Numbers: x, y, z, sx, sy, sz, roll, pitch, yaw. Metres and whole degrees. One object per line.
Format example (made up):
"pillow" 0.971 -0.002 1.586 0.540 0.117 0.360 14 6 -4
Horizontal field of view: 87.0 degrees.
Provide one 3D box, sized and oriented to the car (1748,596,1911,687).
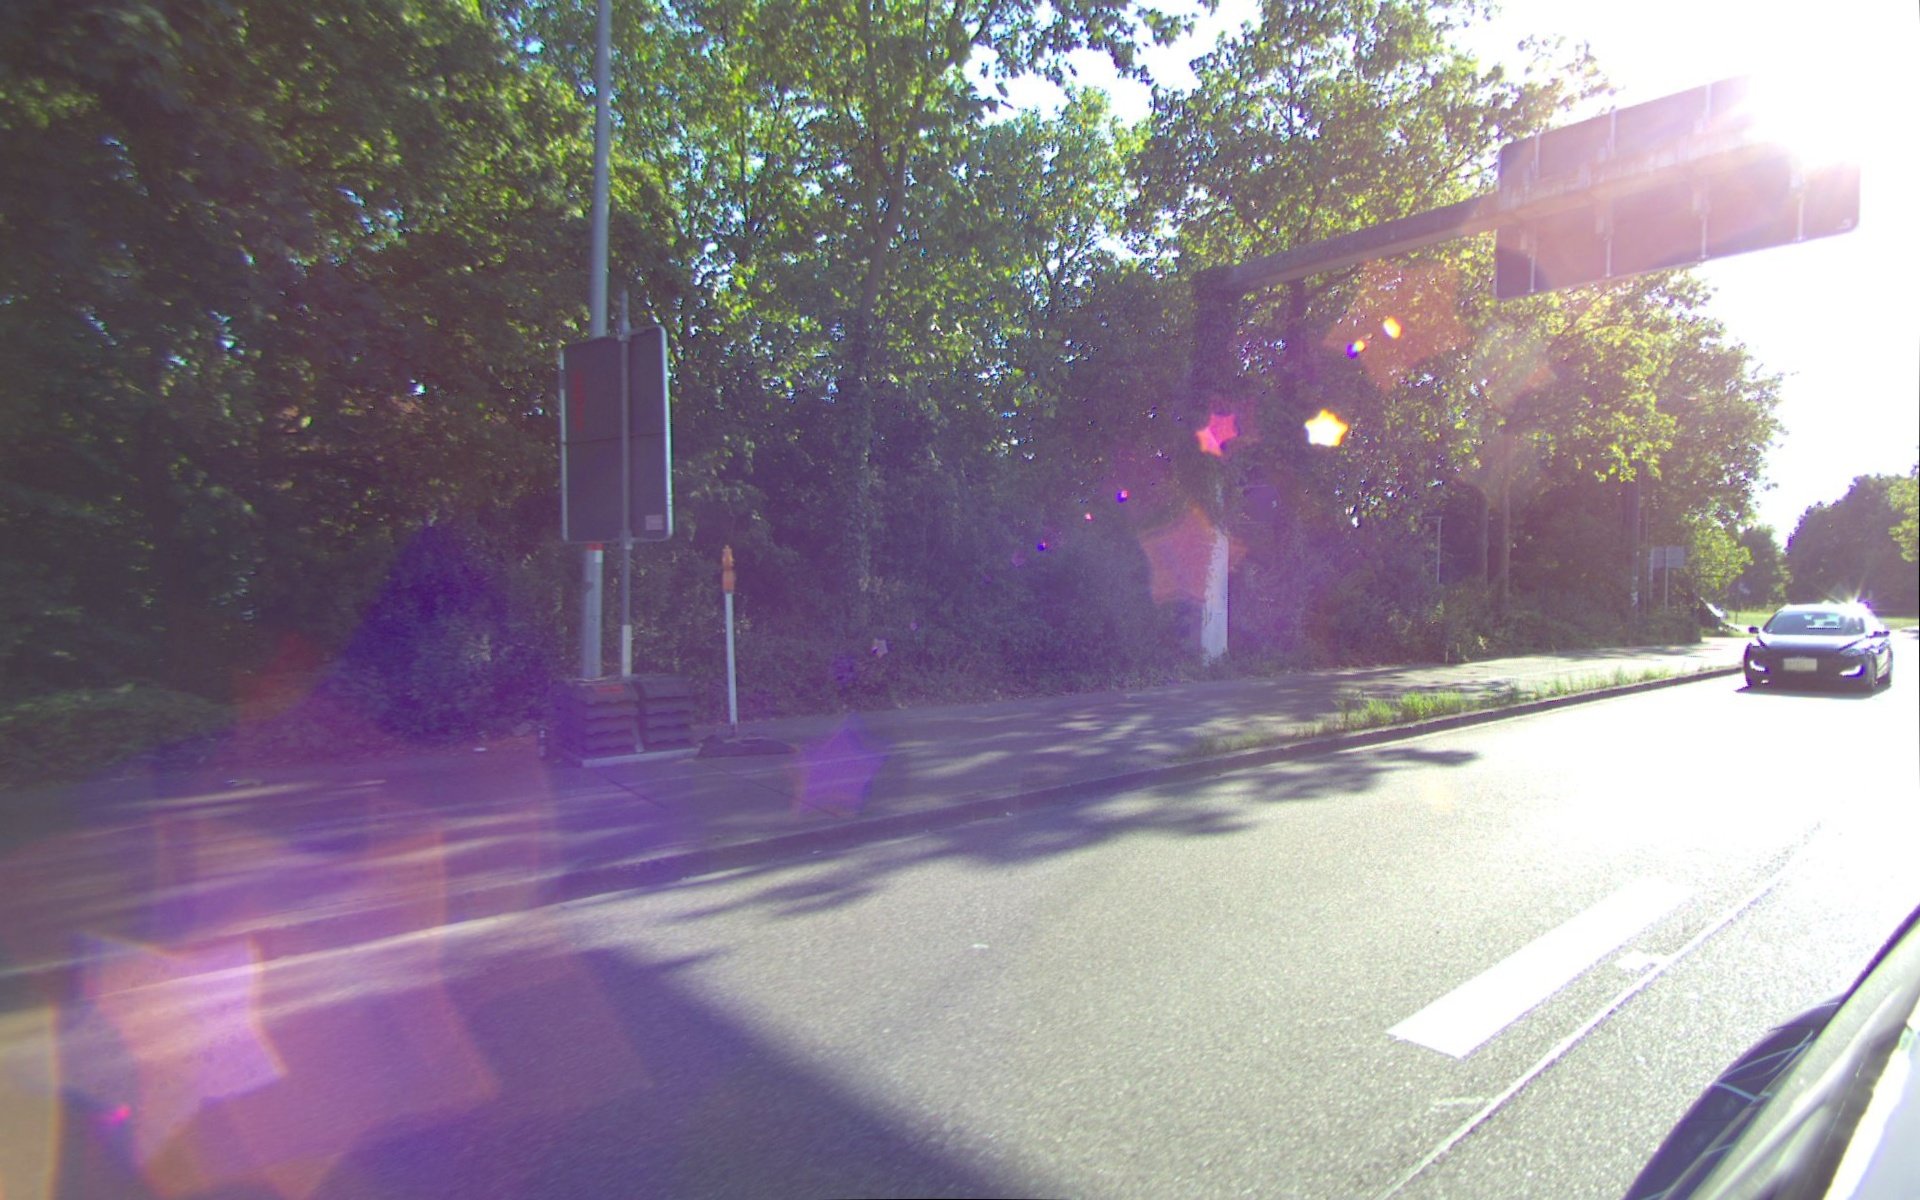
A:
"car" 16.147 0.676 18.726 4.151 1.458 1.795 -1 1 -42
